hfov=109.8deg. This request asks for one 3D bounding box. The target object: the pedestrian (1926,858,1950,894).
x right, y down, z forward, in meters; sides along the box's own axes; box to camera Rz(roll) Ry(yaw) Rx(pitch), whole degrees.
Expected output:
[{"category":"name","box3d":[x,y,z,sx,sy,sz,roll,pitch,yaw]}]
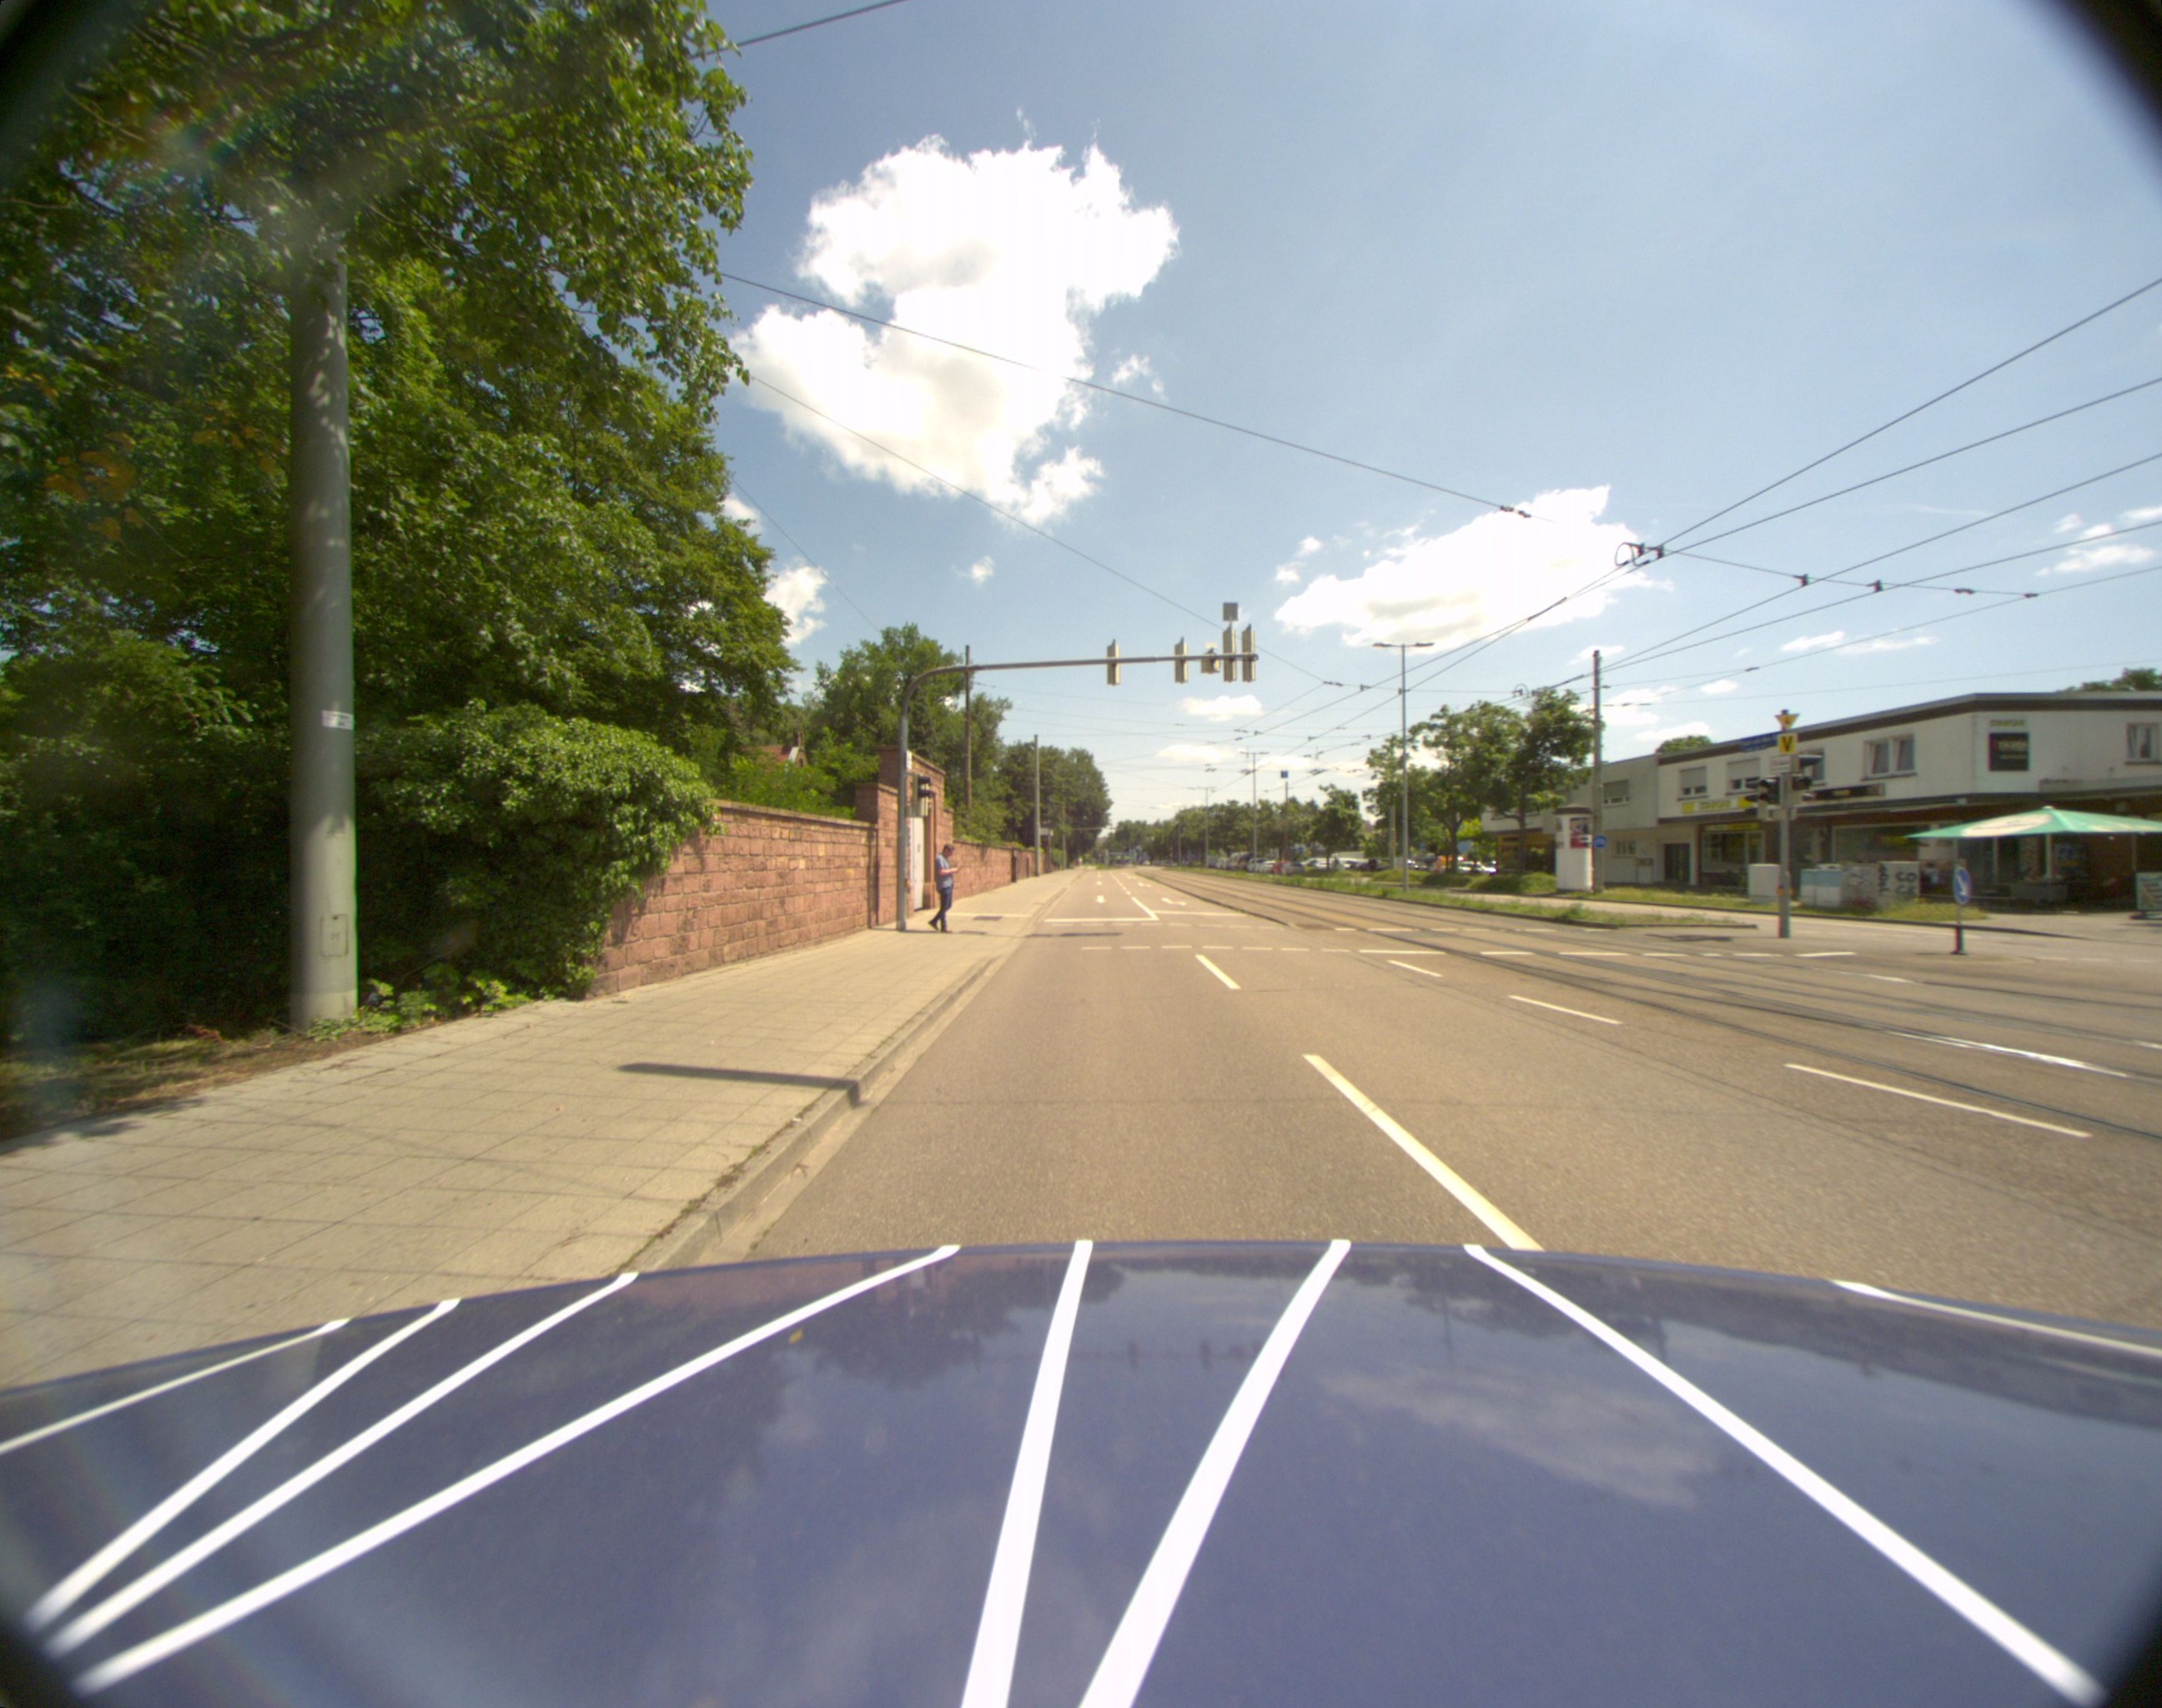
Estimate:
[{"category":"pedestrian","box3d":[30.729,0.782,27.236,0.341,1.260,0.452,0,0,4]}]

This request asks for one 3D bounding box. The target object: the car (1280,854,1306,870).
[{"category":"car","box3d":[22.146,0.824,79.469,1.580,1.531,4.551,-2,1,3]}]

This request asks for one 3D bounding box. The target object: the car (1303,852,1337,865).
[{"category":"car","box3d":[34.028,0.586,108.188,4.199,1.726,1.803,2,1,2]}]

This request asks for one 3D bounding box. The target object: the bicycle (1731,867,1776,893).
[{"category":"bicycle","box3d":[28.923,1.101,32.702,0.399,1.035,1.802,0,0,3]}]

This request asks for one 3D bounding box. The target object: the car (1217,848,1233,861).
[{"category":"car","box3d":[23.803,0.066,125.579,1.795,1.927,4.488,-2,1,0]}]

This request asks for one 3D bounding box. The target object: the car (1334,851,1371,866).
[{"category":"car","box3d":[33.639,0.557,94.288,3.996,1.726,1.903,0,0,2]}]

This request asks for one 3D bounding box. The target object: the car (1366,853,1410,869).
[{"category":"car","box3d":[32.832,0.726,81.372,3.996,1.726,1.879,0,0,2]}]

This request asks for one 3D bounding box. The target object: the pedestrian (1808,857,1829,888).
[{"category":"pedestrian","box3d":[30.199,0.756,31.119,0.354,1.260,0.533,0,0,2]}]

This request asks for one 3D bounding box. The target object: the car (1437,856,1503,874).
[{"category":"car","box3d":[32.154,0.922,62.938,4.484,1.426,1.907,0,0,4]}]

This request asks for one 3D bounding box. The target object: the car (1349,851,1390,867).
[{"category":"car","box3d":[32.702,0.579,86.216,3.996,1.726,1.803,0,0,2]}]

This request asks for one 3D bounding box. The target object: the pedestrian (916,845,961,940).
[{"category":"pedestrian","box3d":[-2.819,0.745,15.102,0.767,1.841,0.717,1,1,-3]}]

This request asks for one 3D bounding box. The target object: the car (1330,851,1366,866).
[{"category":"car","box3d":[34.072,0.570,97.031,3.996,1.726,1.803,2,1,2]}]

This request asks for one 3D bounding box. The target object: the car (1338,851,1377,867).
[{"category":"car","box3d":[33.347,0.579,91.697,3.996,1.726,1.803,2,1,2]}]

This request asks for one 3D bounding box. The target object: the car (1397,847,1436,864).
[{"category":"car","box3d":[47.022,0.174,106.558,4.652,2.212,1.851,2,1,-1]}]

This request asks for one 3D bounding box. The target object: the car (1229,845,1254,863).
[{"category":"car","box3d":[23.204,-0.033,110.175,2.156,2.596,6.704,-2,1,1]}]

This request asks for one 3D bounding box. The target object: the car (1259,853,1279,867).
[{"category":"car","box3d":[22.043,0.650,89.253,1.502,1.531,4.359,-2,1,3]}]

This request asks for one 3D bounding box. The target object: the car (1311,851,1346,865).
[{"category":"car","box3d":[32.502,0.532,99.767,3.996,1.726,1.803,2,1,2]}]

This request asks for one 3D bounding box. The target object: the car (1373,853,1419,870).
[{"category":"car","box3d":[32.461,0.748,78.381,3.996,1.726,1.803,0,0,2]}]

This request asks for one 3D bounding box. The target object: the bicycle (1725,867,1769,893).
[{"category":"bicycle","box3d":[28.519,1.109,32.567,0.399,1.035,1.802,0,0,3]}]

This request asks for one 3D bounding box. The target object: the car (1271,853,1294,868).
[{"category":"car","box3d":[22.438,0.696,84.734,1.503,1.531,3.648,-2,1,-2]}]

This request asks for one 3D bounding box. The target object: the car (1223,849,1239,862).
[{"category":"car","box3d":[23.441,0.230,118.887,1.794,1.927,4.649,-2,1,2]}]

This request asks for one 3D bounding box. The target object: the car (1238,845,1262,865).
[{"category":"car","box3d":[22.656,0.092,101.906,2.155,2.596,5.033,-2,1,2]}]

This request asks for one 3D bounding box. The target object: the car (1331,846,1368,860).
[{"category":"car","box3d":[48.103,-0.225,136.168,5.697,2.467,2.259,0,0,-1]}]

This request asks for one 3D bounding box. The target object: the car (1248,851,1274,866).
[{"category":"car","box3d":[22.657,0.552,95.887,2.155,1.827,4.888,-2,1,2]}]

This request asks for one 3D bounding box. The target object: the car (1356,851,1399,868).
[{"category":"car","box3d":[32.579,0.633,83.478,3.996,1.726,1.803,2,1,2]}]

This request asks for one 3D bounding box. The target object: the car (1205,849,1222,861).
[{"category":"car","box3d":[23.949,0.106,137.438,2.071,2.089,4.488,-2,1,0]}]

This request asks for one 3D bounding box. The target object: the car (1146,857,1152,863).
[{"category":"car","box3d":[21.329,1.861,238.633,1.681,1.680,3.547,2,1,7]}]
